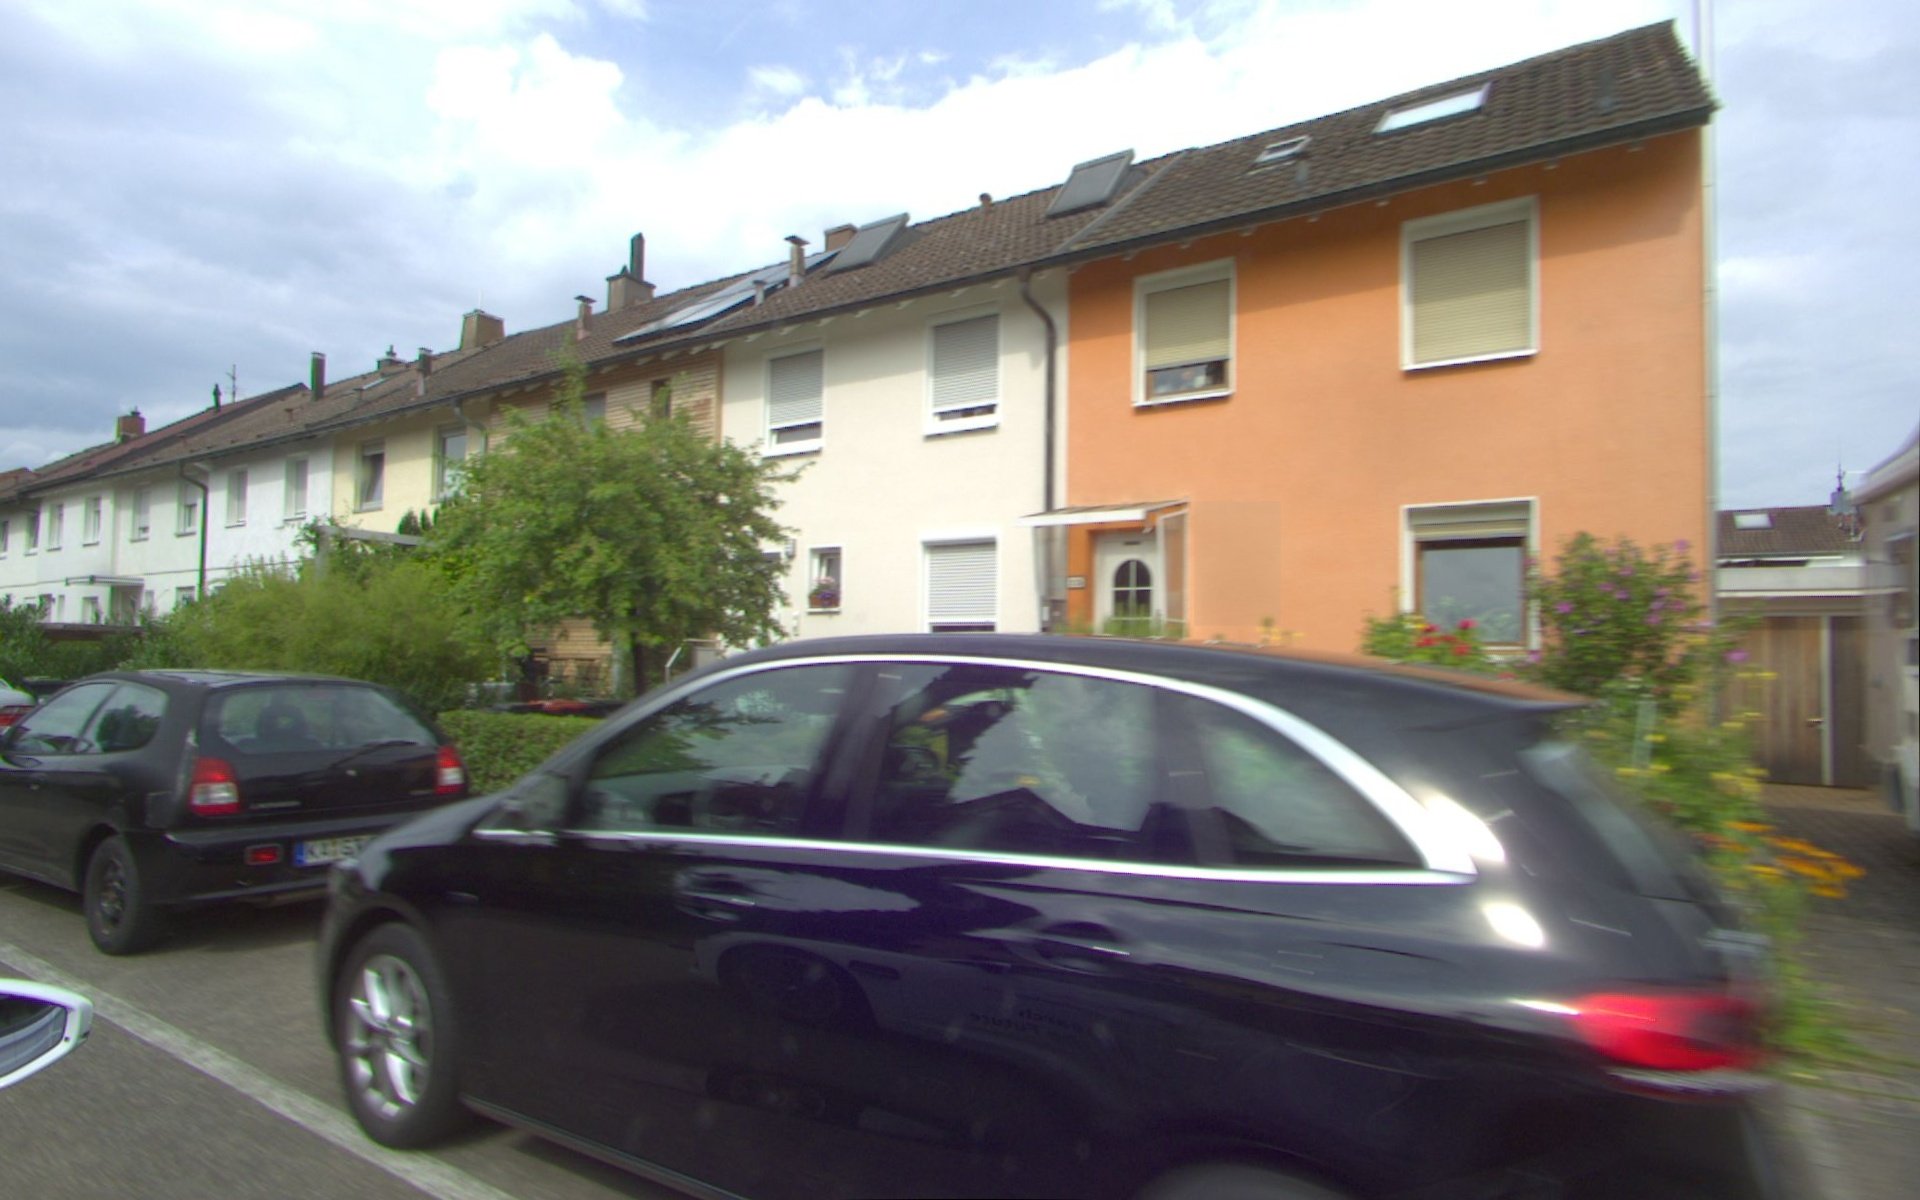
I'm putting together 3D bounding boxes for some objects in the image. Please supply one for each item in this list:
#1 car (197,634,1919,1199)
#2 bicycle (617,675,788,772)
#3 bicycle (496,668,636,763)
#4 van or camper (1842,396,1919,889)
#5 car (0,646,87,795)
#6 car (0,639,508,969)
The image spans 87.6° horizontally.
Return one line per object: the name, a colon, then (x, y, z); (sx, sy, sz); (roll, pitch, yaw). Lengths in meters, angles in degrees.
car: (-0.292, 0.881, 3.075); (4.581, 1.485, 1.747); (-1, -4, 32)
bicycle: (-2.866, 1.353, 11.187); (1.720, 0.994, 0.661); (0, -2, 13)
bicycle: (-4.577, 1.316, 11.713); (0.371, 1.035, 1.533); (0, -3, 37)
van or camper: (6.763, 0.250, 5.328); (2.504, 2.853, 5.784); (-1, -3, 36)
car: (-11.366, 1.155, 10.507); (4.697, 1.424, 1.867); (-1, -5, 30)
car: (-4.892, 0.990, 6.237); (4.065, 1.445, 1.732); (-1, -4, 30)
